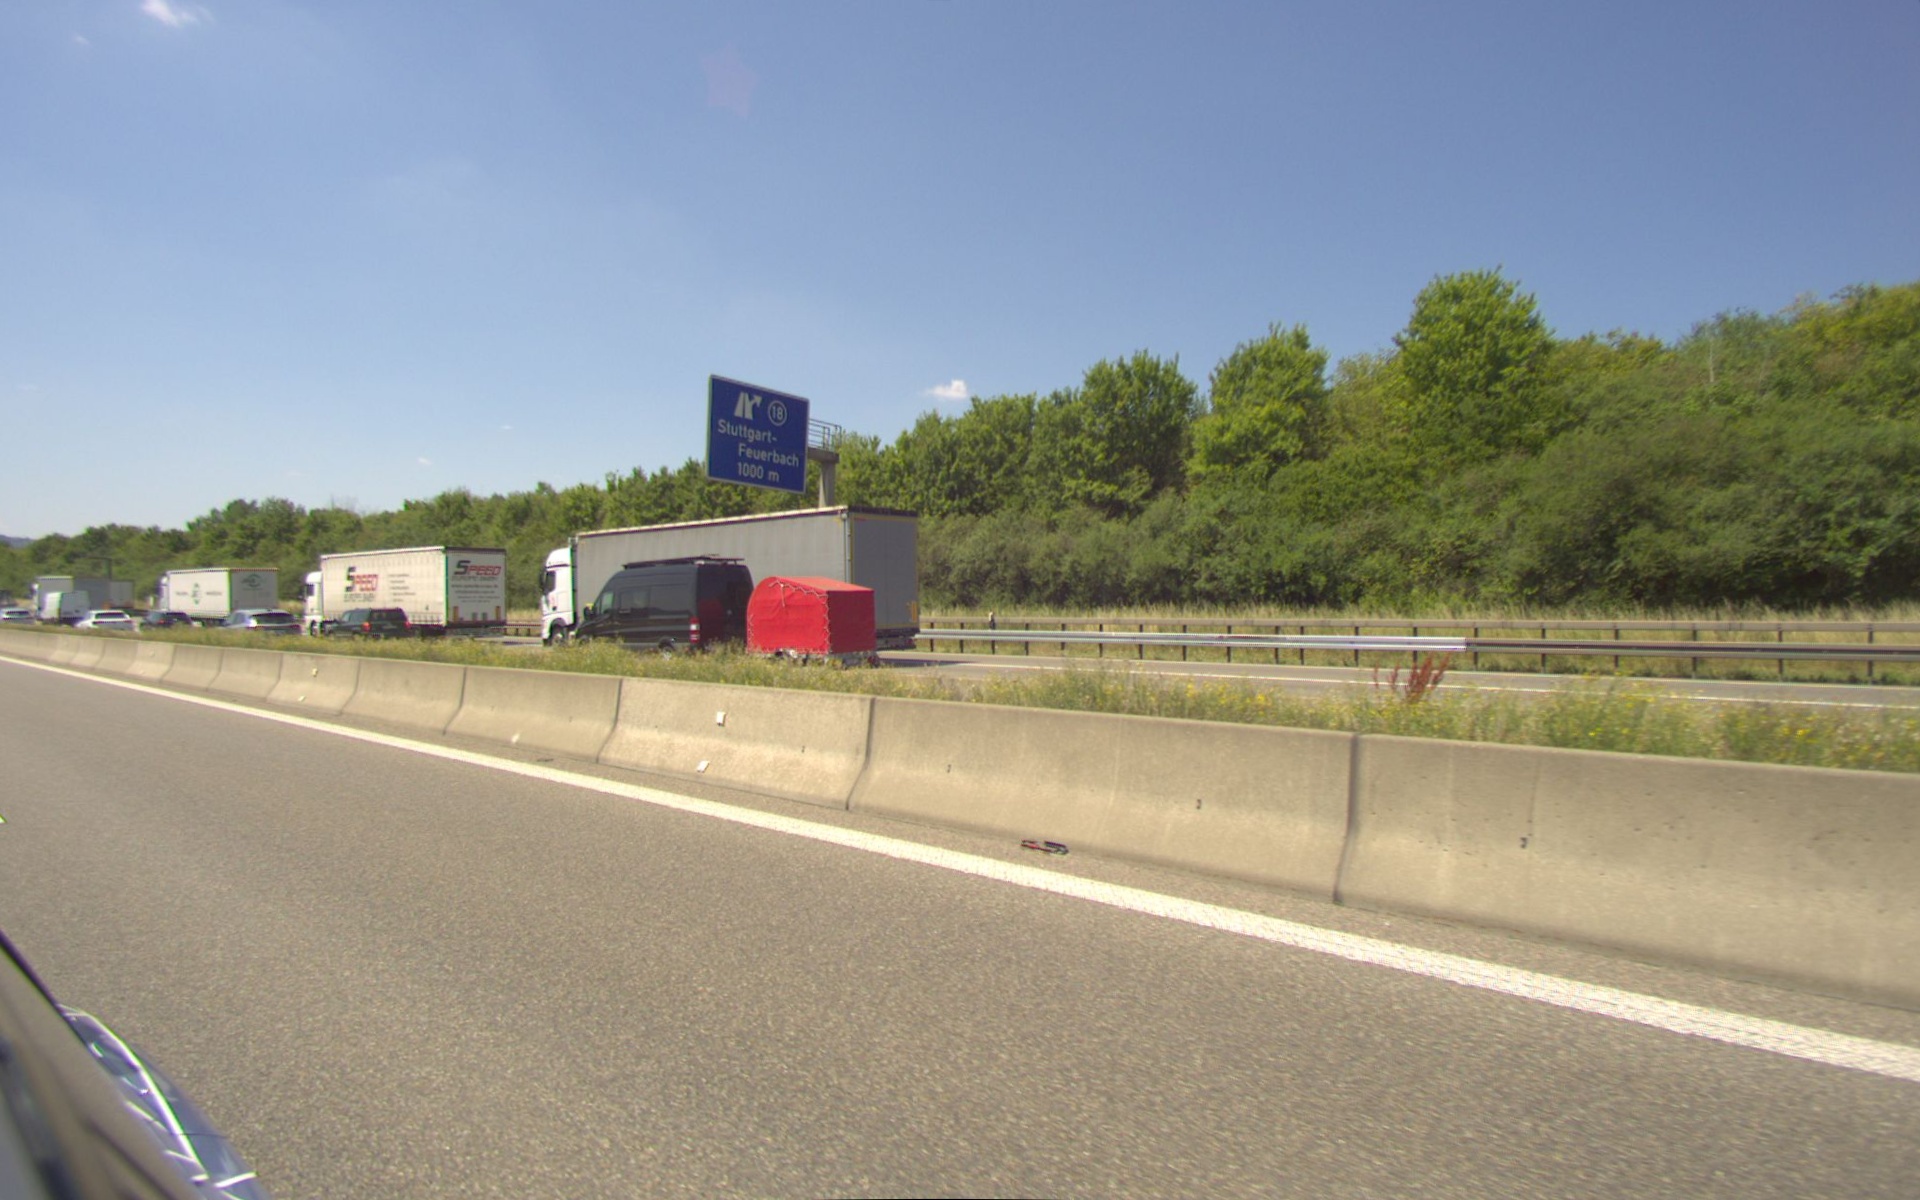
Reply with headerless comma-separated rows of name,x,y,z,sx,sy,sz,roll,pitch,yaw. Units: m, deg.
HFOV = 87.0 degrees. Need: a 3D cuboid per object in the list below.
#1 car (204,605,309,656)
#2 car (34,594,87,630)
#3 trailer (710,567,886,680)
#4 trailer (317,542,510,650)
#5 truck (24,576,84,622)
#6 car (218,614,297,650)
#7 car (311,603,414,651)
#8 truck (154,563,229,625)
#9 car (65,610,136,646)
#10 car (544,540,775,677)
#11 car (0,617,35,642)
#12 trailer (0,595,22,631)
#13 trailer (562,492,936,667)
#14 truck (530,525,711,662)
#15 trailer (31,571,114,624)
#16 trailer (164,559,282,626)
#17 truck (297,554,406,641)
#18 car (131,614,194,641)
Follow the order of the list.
car,-25.097,1.052,36.047,4.793,1.701,1.912,-1,-1,40
car,-67.696,0.883,76.114,7.565,2.593,1.878,0,0,40
trailer,-3.603,0.517,22.146,3.957,2.270,1.554,-1,-2,39
trailer,-25.121,-0.095,45.914,13.857,4.310,2.782,-1,0,40
truck,-85.101,-0.053,95.053,6.175,4.164,3.168,0,-1,38
car,-31.975,1.402,46.029,4.403,1.485,1.862,0,0,40
car,-23.134,1.006,39.099,4.788,1.728,1.973,0,0,40
truck,-52.348,-0.362,68.913,5.969,4.037,2.820,0,0,40
car,-43.348,1.395,50.996,4.402,1.656,1.974,0,0,39
car,-7.659,0.255,25.347,6.543,3.037,2.215,-1,-2,39
car,-63.800,1.951,67.859,4.590,1.590,1.974,0,0,39
trailer,-89.358,1.134,92.938,10.711,3.207,2.843,1,1,37
trailer,-6.959,-0.477,30.254,14.185,4.238,2.951,0,0,41
truck,-11.651,-0.199,34.439,6.602,4.241,2.931,0,0,42
trailer,-79.987,-0.196,91.065,13.762,4.454,3.191,0,-1,39
trailer,-47.439,-0.412,64.840,13.865,3.902,2.874,0,0,40
truck,-30.191,-0.103,50.111,6.093,4.073,2.728,-1,0,39
car,-46.365,1.553,58.791,4.919,1.445,1.858,-1,0,39
